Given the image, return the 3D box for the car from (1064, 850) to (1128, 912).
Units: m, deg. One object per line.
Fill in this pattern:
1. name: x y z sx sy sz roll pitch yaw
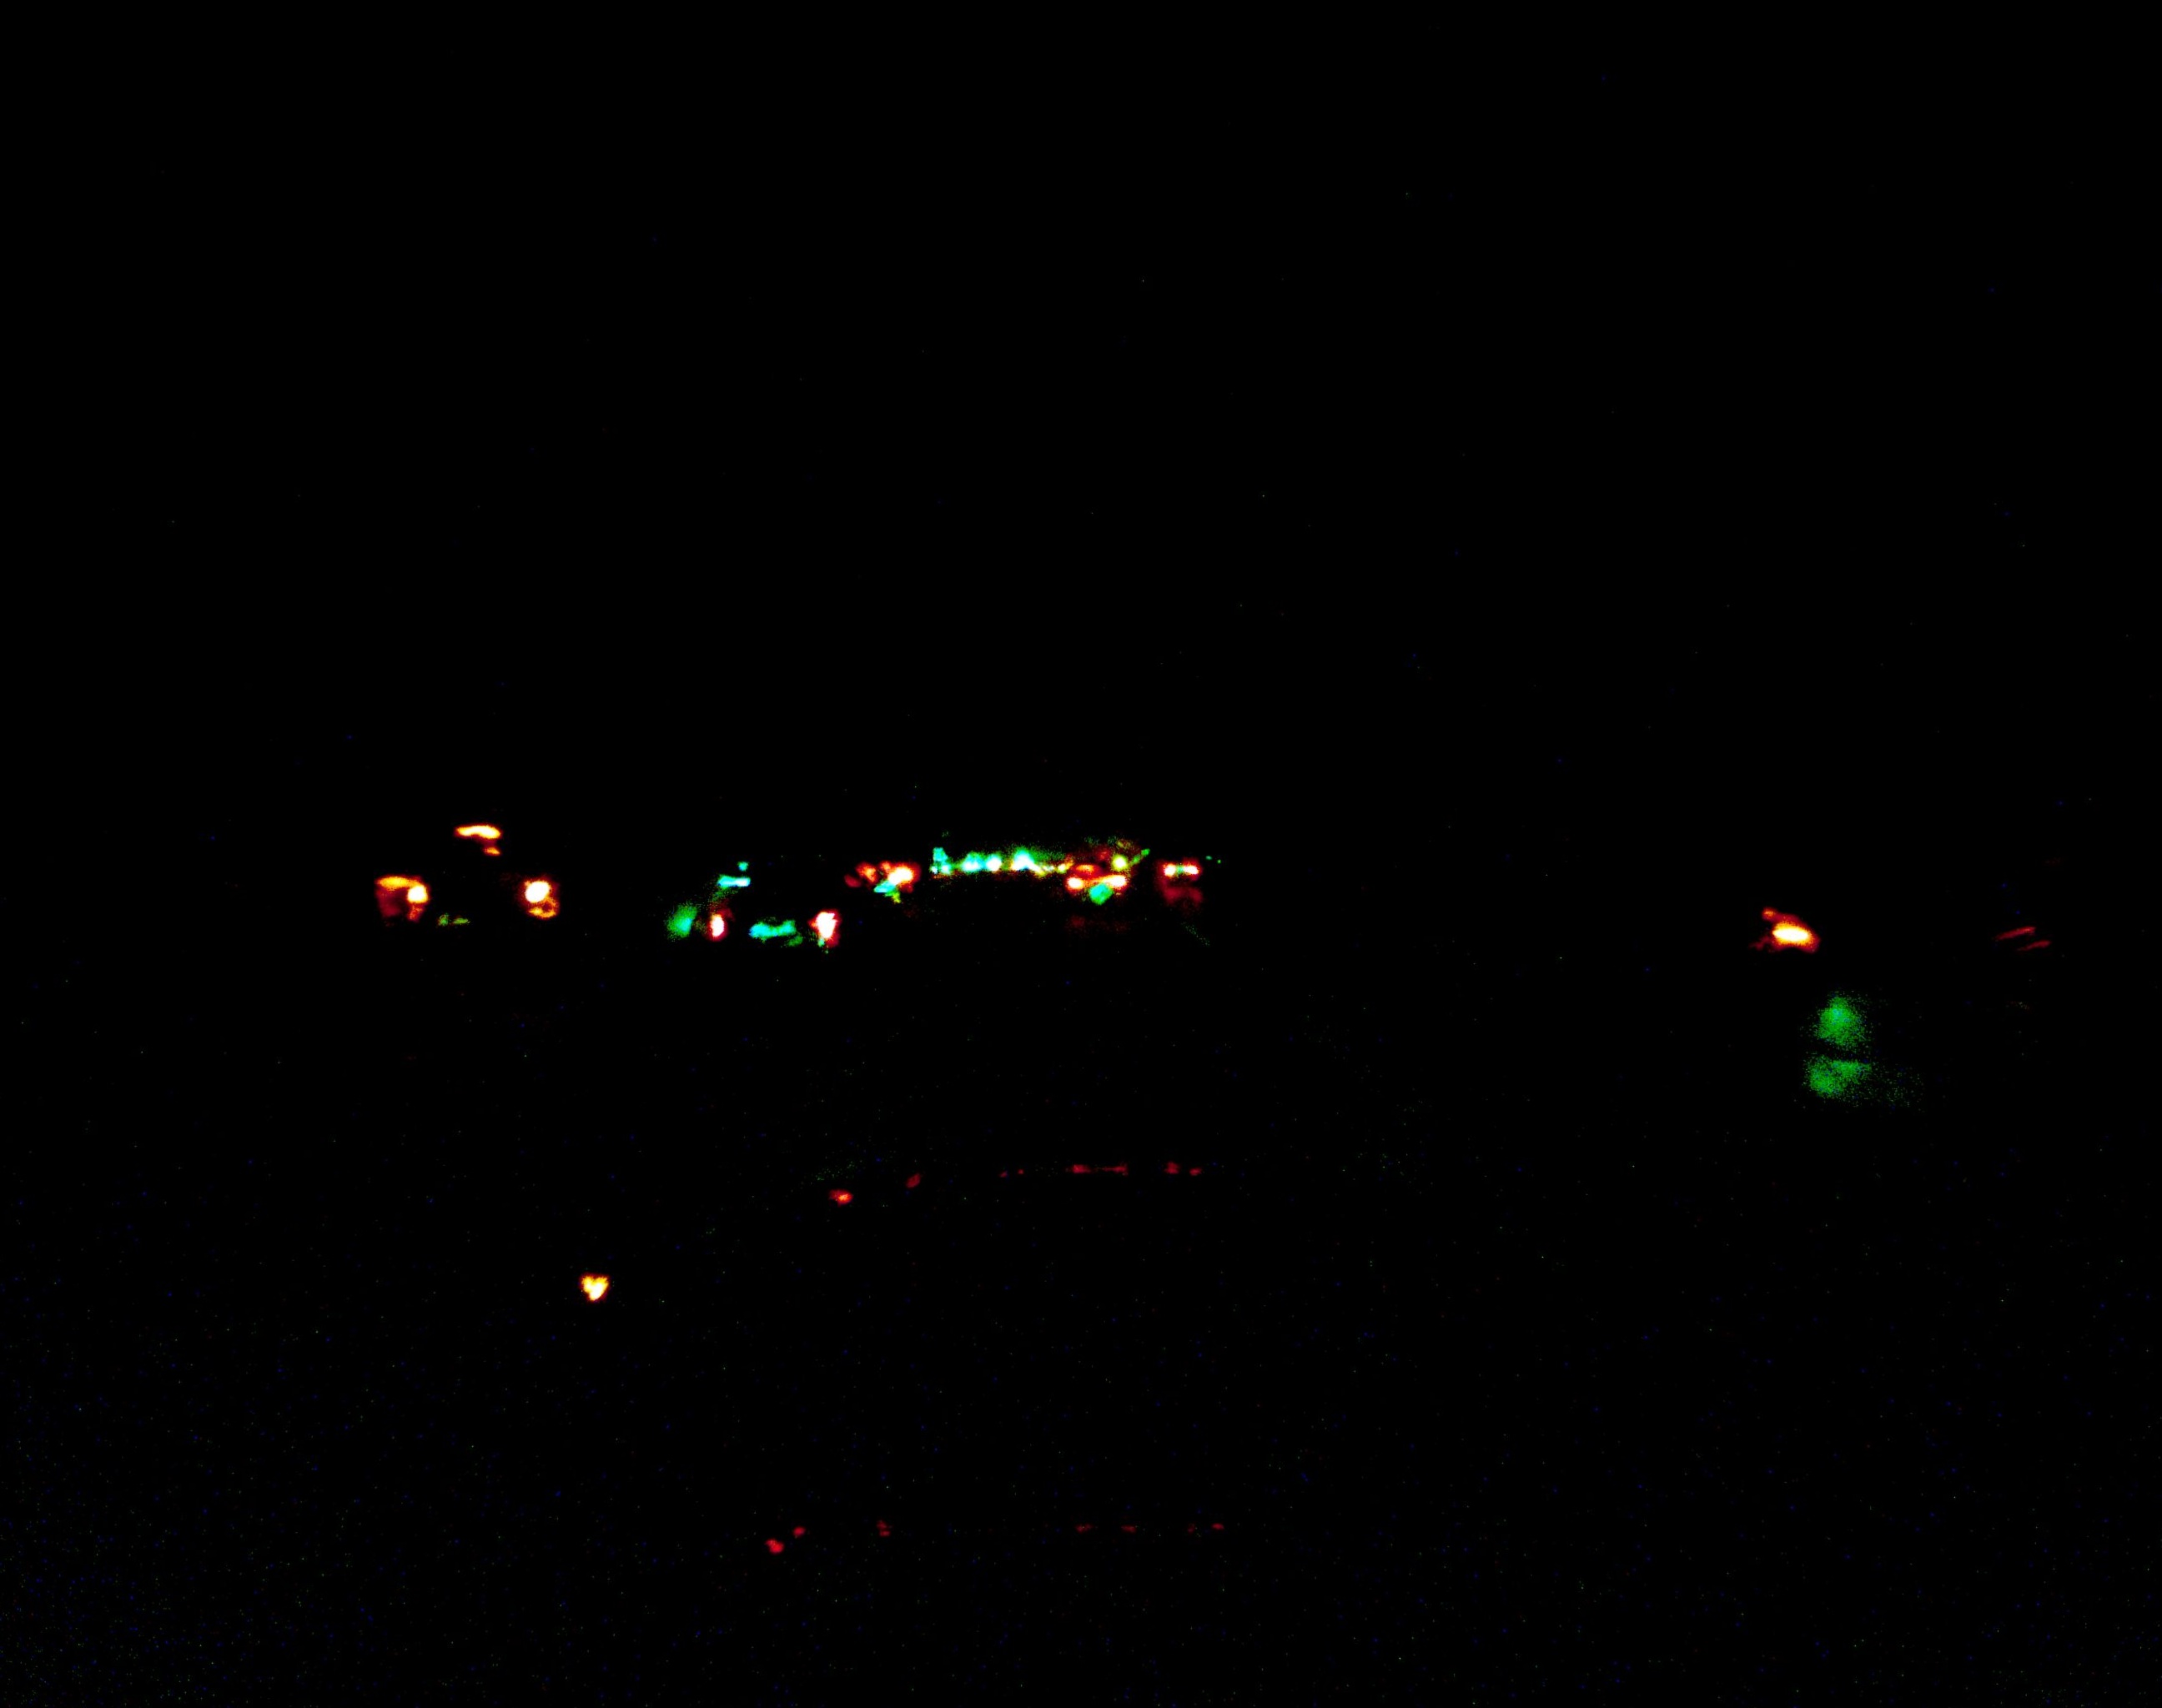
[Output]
1. car: 0.501 0.752 24.907 1.759 1.689 4.002 -1 0 2

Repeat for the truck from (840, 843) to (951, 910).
1. truck: -6.632 0.783 29.991 2.849 2.201 5.855 -1 -1 -1

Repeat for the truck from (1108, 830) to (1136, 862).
1. truck: 7.032 -1.265 140.589 4.150 5.215 9.948 -1 -1 -1

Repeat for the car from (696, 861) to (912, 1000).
1. car: -3.497 0.859 11.124 1.653 1.431 4.242 -1 0 -3

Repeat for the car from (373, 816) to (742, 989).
1. car: -7.693 0.614 12.953 2.115 2.104 5.630 -1 0 1

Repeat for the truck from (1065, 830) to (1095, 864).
1. truck: -0.060 -1.065 134.342 4.236 5.444 10.892 -1 -1 3

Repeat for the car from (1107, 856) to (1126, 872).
1. car: 3.915 1.133 89.202 1.986 1.704 4.459 -1 -1 1

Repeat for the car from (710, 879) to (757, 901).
1. car: -26.479 2.719 62.153 1.794 1.573 4.001 -1 -1 1

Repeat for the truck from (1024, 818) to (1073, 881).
1. truck: -2.656 -0.283 66.374 3.648 4.737 9.841 -1 -1 -3

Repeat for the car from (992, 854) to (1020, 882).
1. car: -6.385 1.168 69.204 2.260 2.273 5.376 -1 -1 -5

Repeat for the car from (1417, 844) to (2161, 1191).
1. car: 4.063 0.704 5.616 1.764 1.457 4.195 -1 0 0

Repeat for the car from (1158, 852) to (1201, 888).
1. car: 5.107 0.801 42.707 1.871 1.762 4.002 -1 -1 2
